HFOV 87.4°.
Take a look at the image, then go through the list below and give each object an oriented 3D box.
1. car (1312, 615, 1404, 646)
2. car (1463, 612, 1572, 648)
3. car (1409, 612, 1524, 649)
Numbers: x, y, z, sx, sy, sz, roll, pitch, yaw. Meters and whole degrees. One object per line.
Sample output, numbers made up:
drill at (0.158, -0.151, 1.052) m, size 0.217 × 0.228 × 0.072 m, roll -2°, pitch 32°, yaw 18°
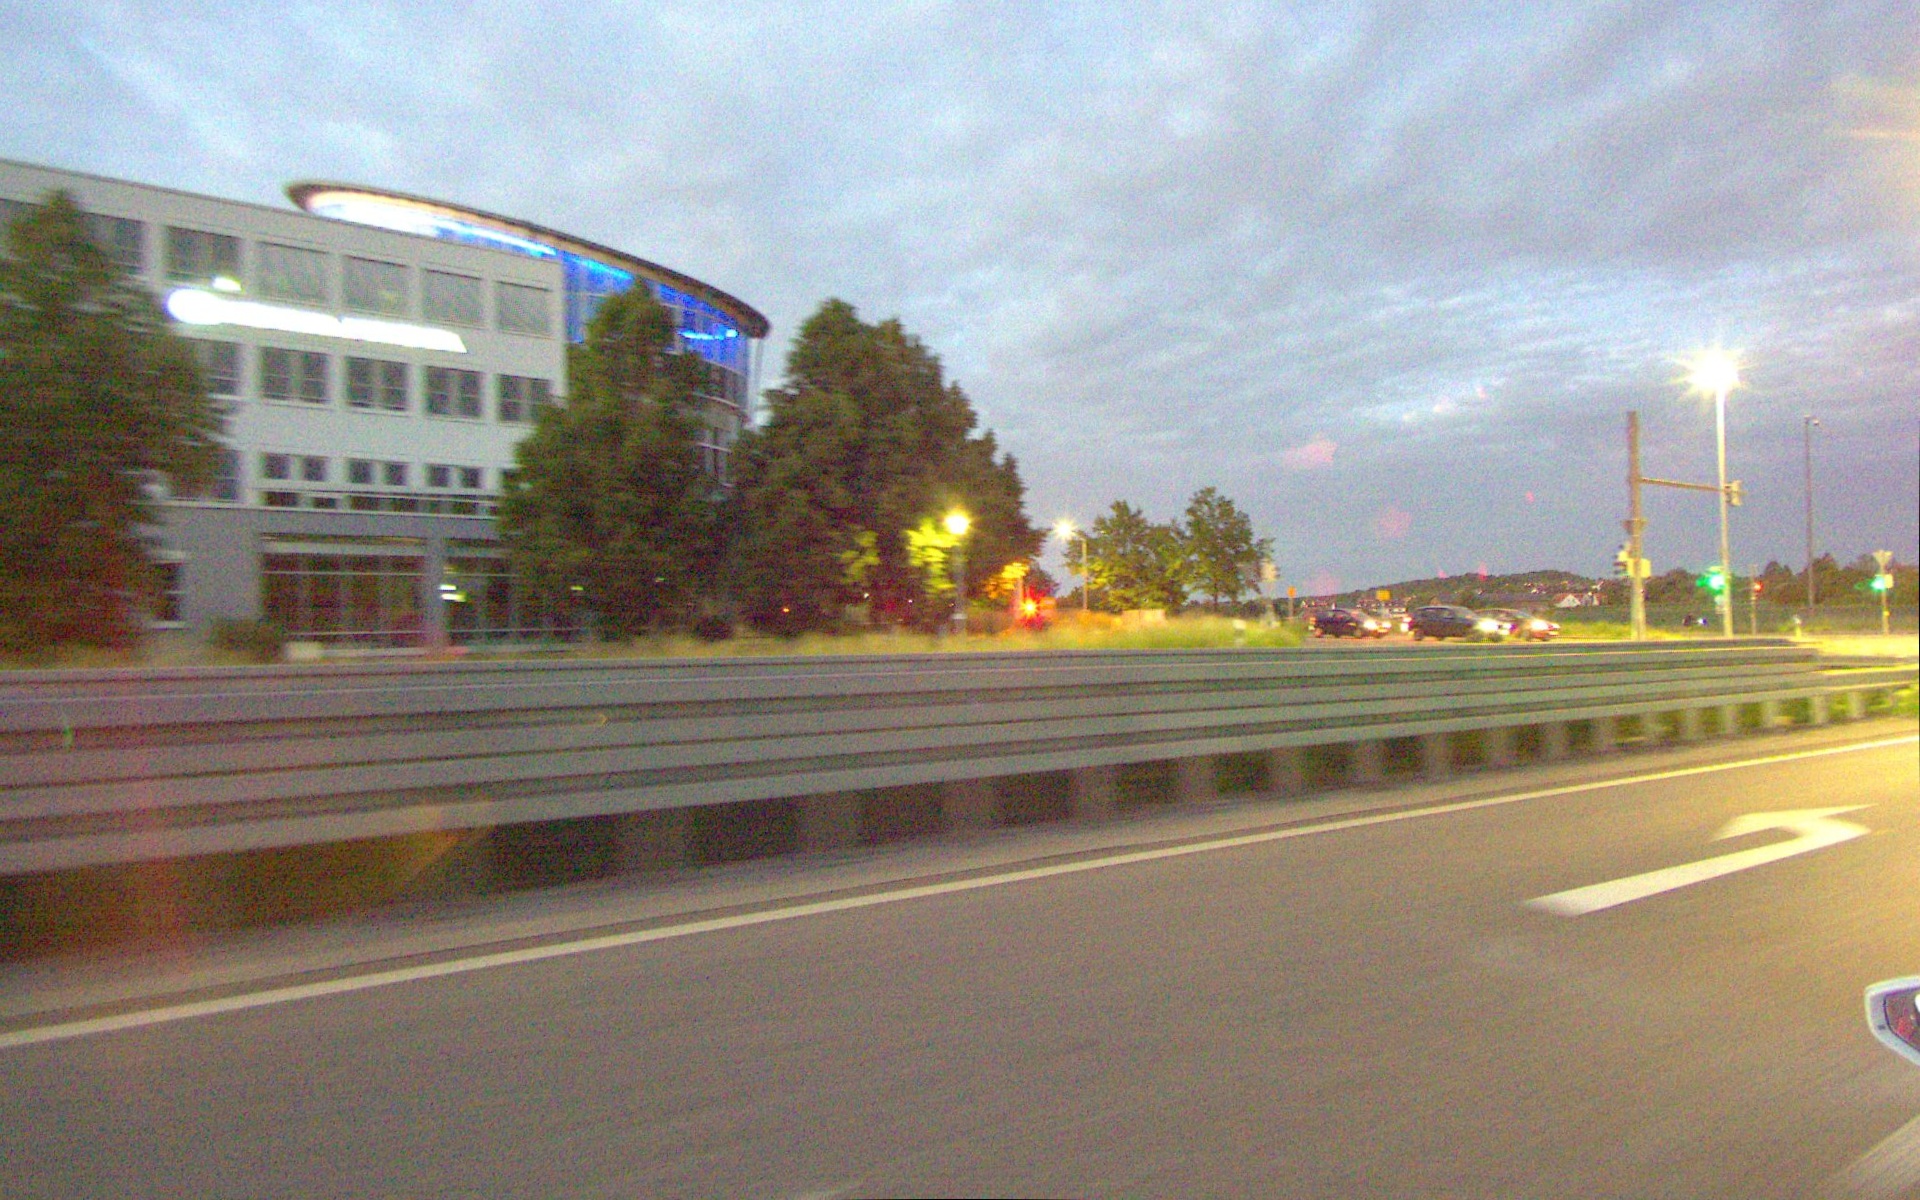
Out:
car at (19.603, 1.511, 49.564) m, size 1.712 × 1.493 × 3.963 m, roll 1°, pitch -2°, yaw -34°
car at (25.169, 1.361, 45.460) m, size 1.710 × 1.558 × 4.020 m, roll 1°, pitch -2°, yaw -31°
car at (22.124, 1.341, 44.037) m, size 1.709 × 1.558 × 4.294 m, roll 0°, pitch -2°, yaw -29°
